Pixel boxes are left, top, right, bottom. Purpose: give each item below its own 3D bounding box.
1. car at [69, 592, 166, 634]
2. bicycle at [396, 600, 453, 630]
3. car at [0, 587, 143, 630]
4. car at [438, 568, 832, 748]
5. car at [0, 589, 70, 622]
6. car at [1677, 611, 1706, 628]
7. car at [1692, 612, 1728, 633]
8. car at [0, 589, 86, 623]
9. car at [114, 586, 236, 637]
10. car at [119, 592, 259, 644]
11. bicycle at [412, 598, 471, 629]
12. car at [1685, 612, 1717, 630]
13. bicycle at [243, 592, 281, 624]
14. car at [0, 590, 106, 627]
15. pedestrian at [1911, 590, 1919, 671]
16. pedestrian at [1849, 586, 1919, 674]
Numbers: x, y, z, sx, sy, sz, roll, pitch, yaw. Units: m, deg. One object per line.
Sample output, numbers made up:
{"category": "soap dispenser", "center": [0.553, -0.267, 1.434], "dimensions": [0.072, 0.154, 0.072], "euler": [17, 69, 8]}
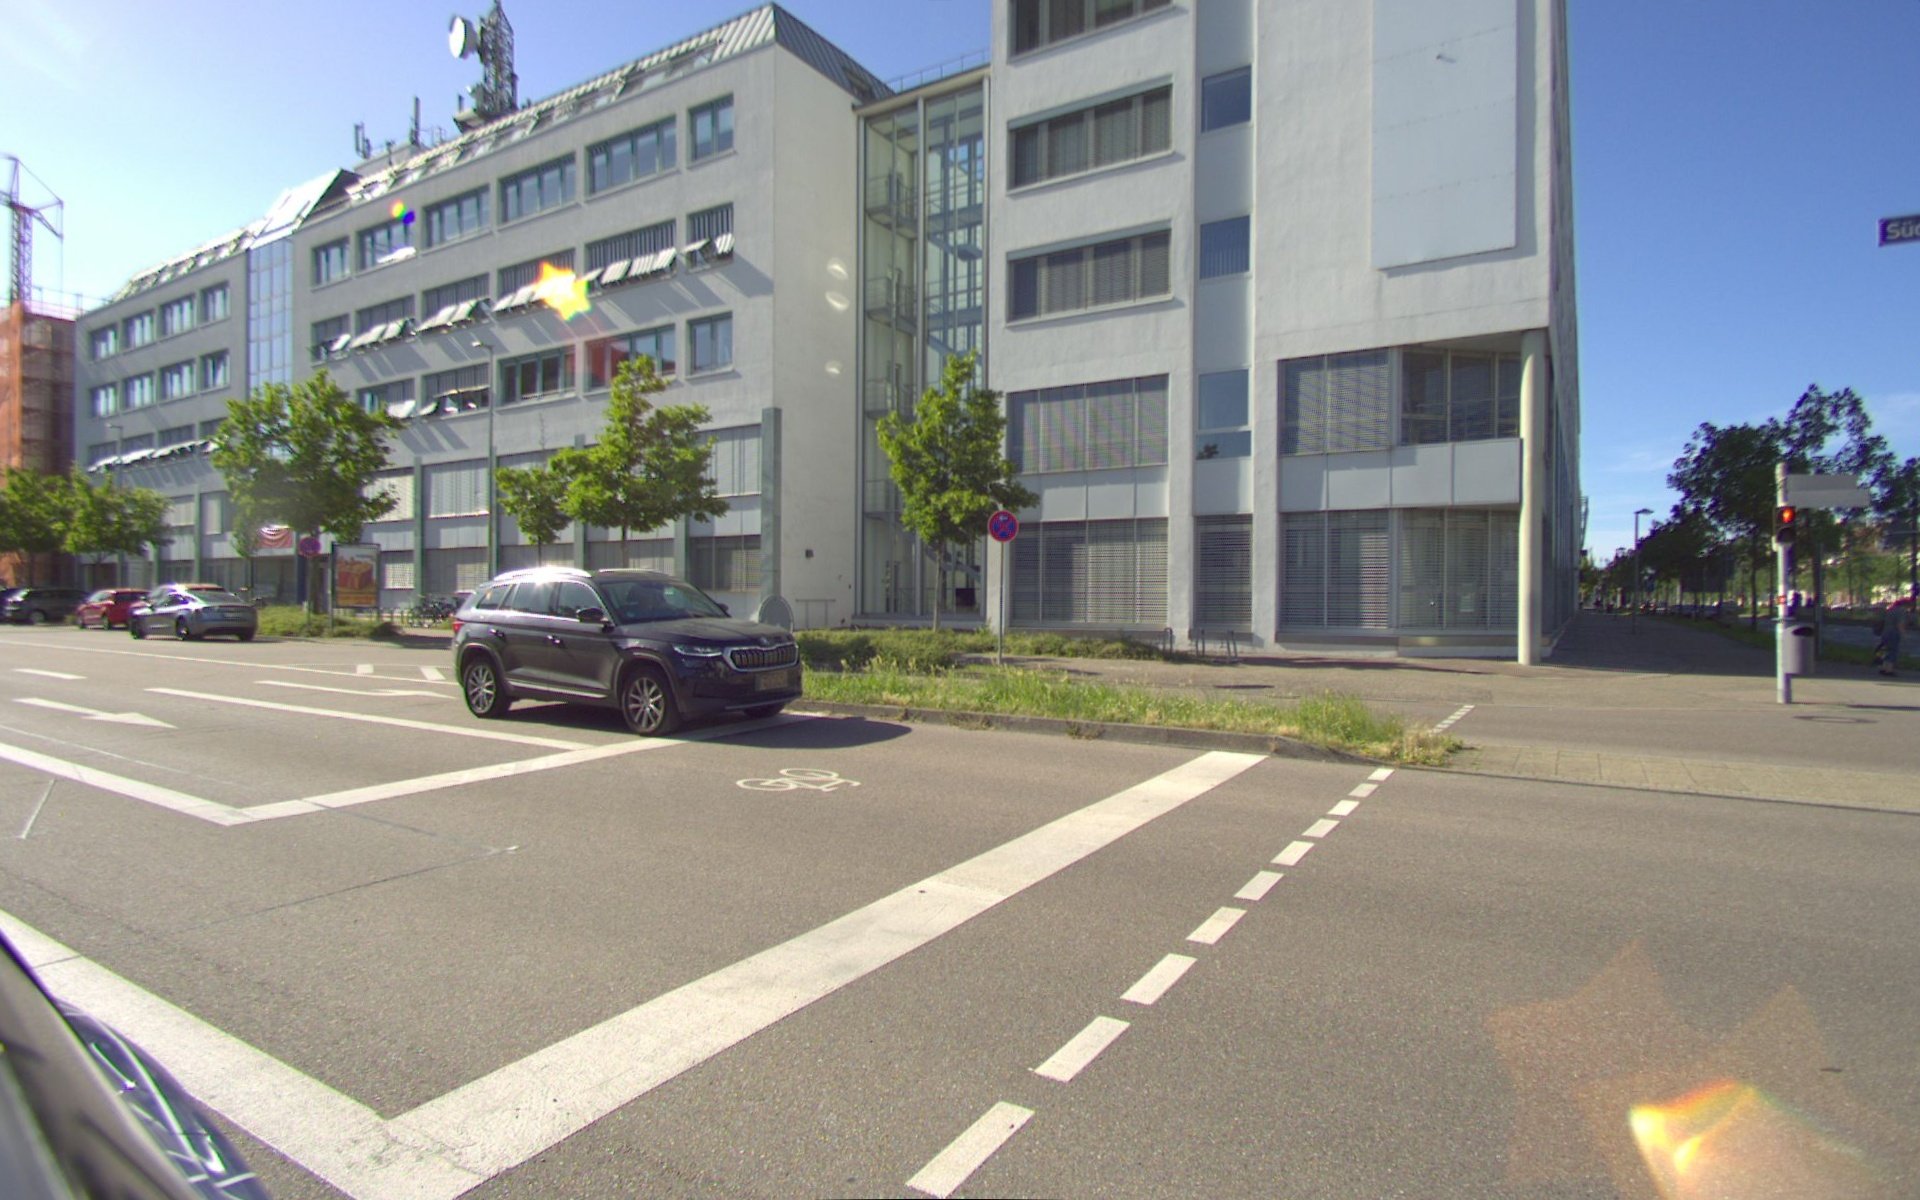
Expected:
{"category": "car", "center": [-31.181, 0.436, 37.422], "dimensions": [3.860, 1.442, 1.675], "euler": [0, 2, 33]}
{"category": "bicycle", "center": [-19.313, 0.552, 36.530], "dimensions": [0.555, 1.077, 1.749], "euler": [0, -1, 40]}
{"category": "car", "center": [-37.107, 0.311, 42.228], "dimensions": [1.686, 1.549, 4.359], "euler": [0, 2, 28]}
{"category": "car", "center": [-3.710, 0.498, 11.258], "dimensions": [4.465, 1.640, 1.740], "euler": [0, 2, 33]}
{"category": "car", "center": [-44.776, 0.253, 47.412], "dimensions": [1.689, 1.442, 4.351], "euler": [0, 2, 33]}
{"category": "car", "center": [67.573, 1.794, 93.516], "dimensions": [1.775, 1.531, 3.958], "euler": [0, -1, 30]}
{"category": "car", "center": [57.025, 1.724, 76.984], "dimensions": [1.775, 1.531, 3.958], "euler": [0, -1, 30]}
{"category": "car", "center": [-43.074, 0.257, 46.306], "dimensions": [1.688, 1.442, 4.352], "euler": [0, 2, 32]}
{"category": "car", "center": [-27.093, 0.349, 34.904], "dimensions": [4.290, 1.619, 1.678], "euler": [0, 2, 28]}
{"category": "car", "center": [-22.991, 0.507, 30.145], "dimensions": [4.529, 1.479, 1.676], "euler": [0, -1, 30]}
{"category": "bicycle", "center": [-18.570, 0.505, 36.261], "dimensions": [0.621, 1.077, 1.770], "euler": [0, -1, 40]}
{"category": "car", "center": [61.975, 1.737, 84.694], "dimensions": [1.775, 1.531, 3.958], "euler": [0, -1, 30]}
{"category": "bicycle", "center": [-30.156, 0.326, 43.711], "dimensions": [2.229, 1.357, 0.702], "euler": [1, -1, 38]}
{"category": "car", "center": [-39.843, 0.345, 43.589], "dimensions": [1.687, 1.442, 4.356], "euler": [0, 2, 30]}
{"category": "pedestrian", "center": [21.341, 0.660, 21.740], "dimensions": [1.149, 1.739, 0.805], "euler": [0, -1, 28]}
{"category": "pedestrian", "center": [18.871, 0.601, 20.487], "dimensions": [1.149, 1.739, 0.805], "euler": [0, -1, 28]}
